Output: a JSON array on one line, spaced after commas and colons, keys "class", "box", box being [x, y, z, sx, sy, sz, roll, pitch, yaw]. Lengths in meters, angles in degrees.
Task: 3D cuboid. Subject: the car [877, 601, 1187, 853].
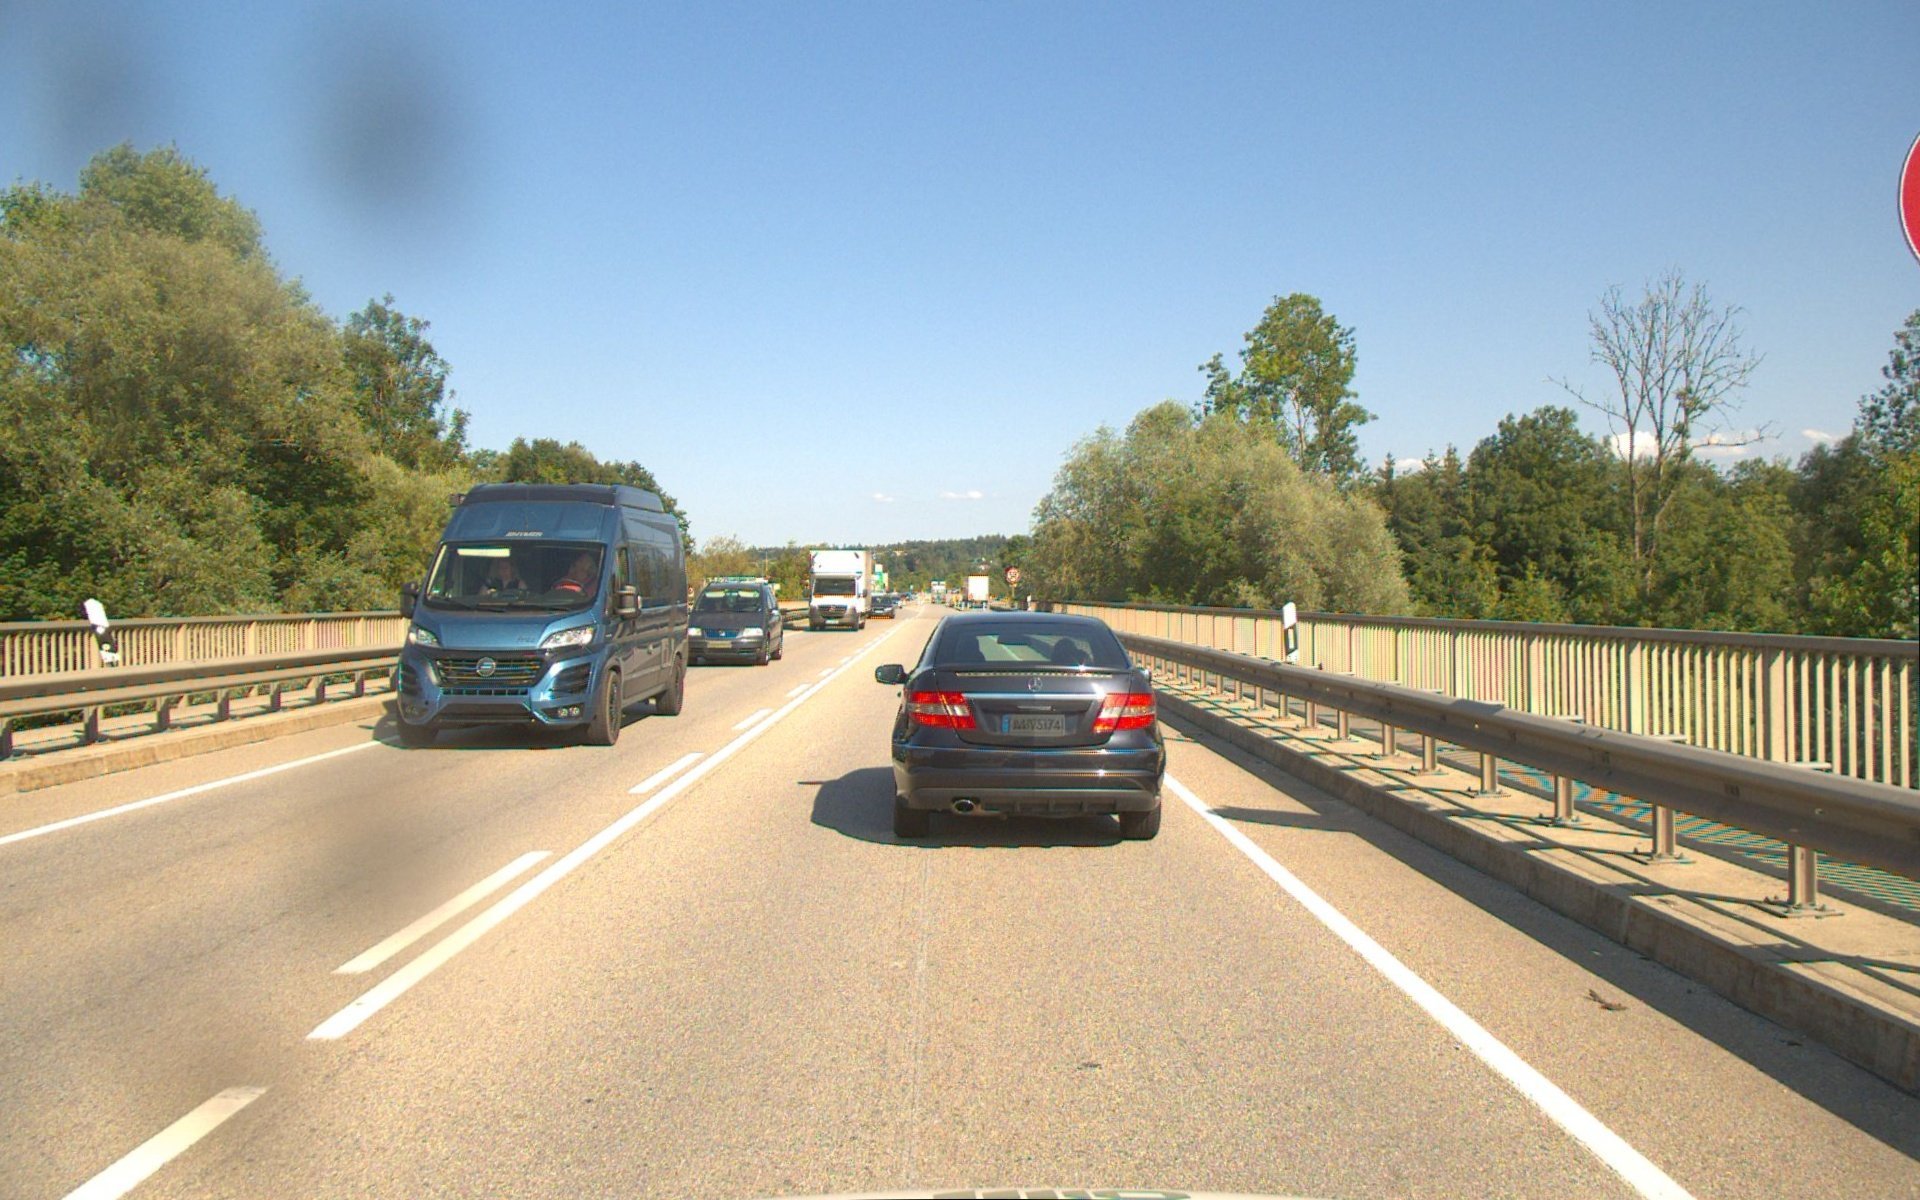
[{"class": "car", "box": [0.430, 0.719, 11.385, 1.756, 1.400, 4.000, 0, 0, 0]}]

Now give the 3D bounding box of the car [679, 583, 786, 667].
[{"class": "car", "box": [-4.819, 0.488, 35.562, 1.804, 1.670, 4.575, 0, 0, -2]}]

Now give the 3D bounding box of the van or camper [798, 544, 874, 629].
[{"class": "van or camper", "box": [-5.053, -0.535, 68.685, 2.581, 3.313, 7.749, 0, 0, 0]}]

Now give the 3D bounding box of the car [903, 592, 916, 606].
[{"class": "car", "box": [-7.642, -0.132, 250.547, 1.953, 2.049, 4.000, 0, 0, 0]}]

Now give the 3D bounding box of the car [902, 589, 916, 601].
[{"class": "car", "box": [-7.285, -0.738, 236.893, 1.766, 1.634, 3.916, 0, 0, 2]}]

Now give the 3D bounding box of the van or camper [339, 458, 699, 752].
[{"class": "van or camper", "box": [-4.557, 0.028, 18.417, 2.381, 2.688, 6.403, 0, 0, -1]}]

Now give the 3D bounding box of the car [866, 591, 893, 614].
[{"class": "car", "box": [-5.023, 0.141, 103.544, 1.626, 1.461, 4.186, 0, 0, -3]}]
